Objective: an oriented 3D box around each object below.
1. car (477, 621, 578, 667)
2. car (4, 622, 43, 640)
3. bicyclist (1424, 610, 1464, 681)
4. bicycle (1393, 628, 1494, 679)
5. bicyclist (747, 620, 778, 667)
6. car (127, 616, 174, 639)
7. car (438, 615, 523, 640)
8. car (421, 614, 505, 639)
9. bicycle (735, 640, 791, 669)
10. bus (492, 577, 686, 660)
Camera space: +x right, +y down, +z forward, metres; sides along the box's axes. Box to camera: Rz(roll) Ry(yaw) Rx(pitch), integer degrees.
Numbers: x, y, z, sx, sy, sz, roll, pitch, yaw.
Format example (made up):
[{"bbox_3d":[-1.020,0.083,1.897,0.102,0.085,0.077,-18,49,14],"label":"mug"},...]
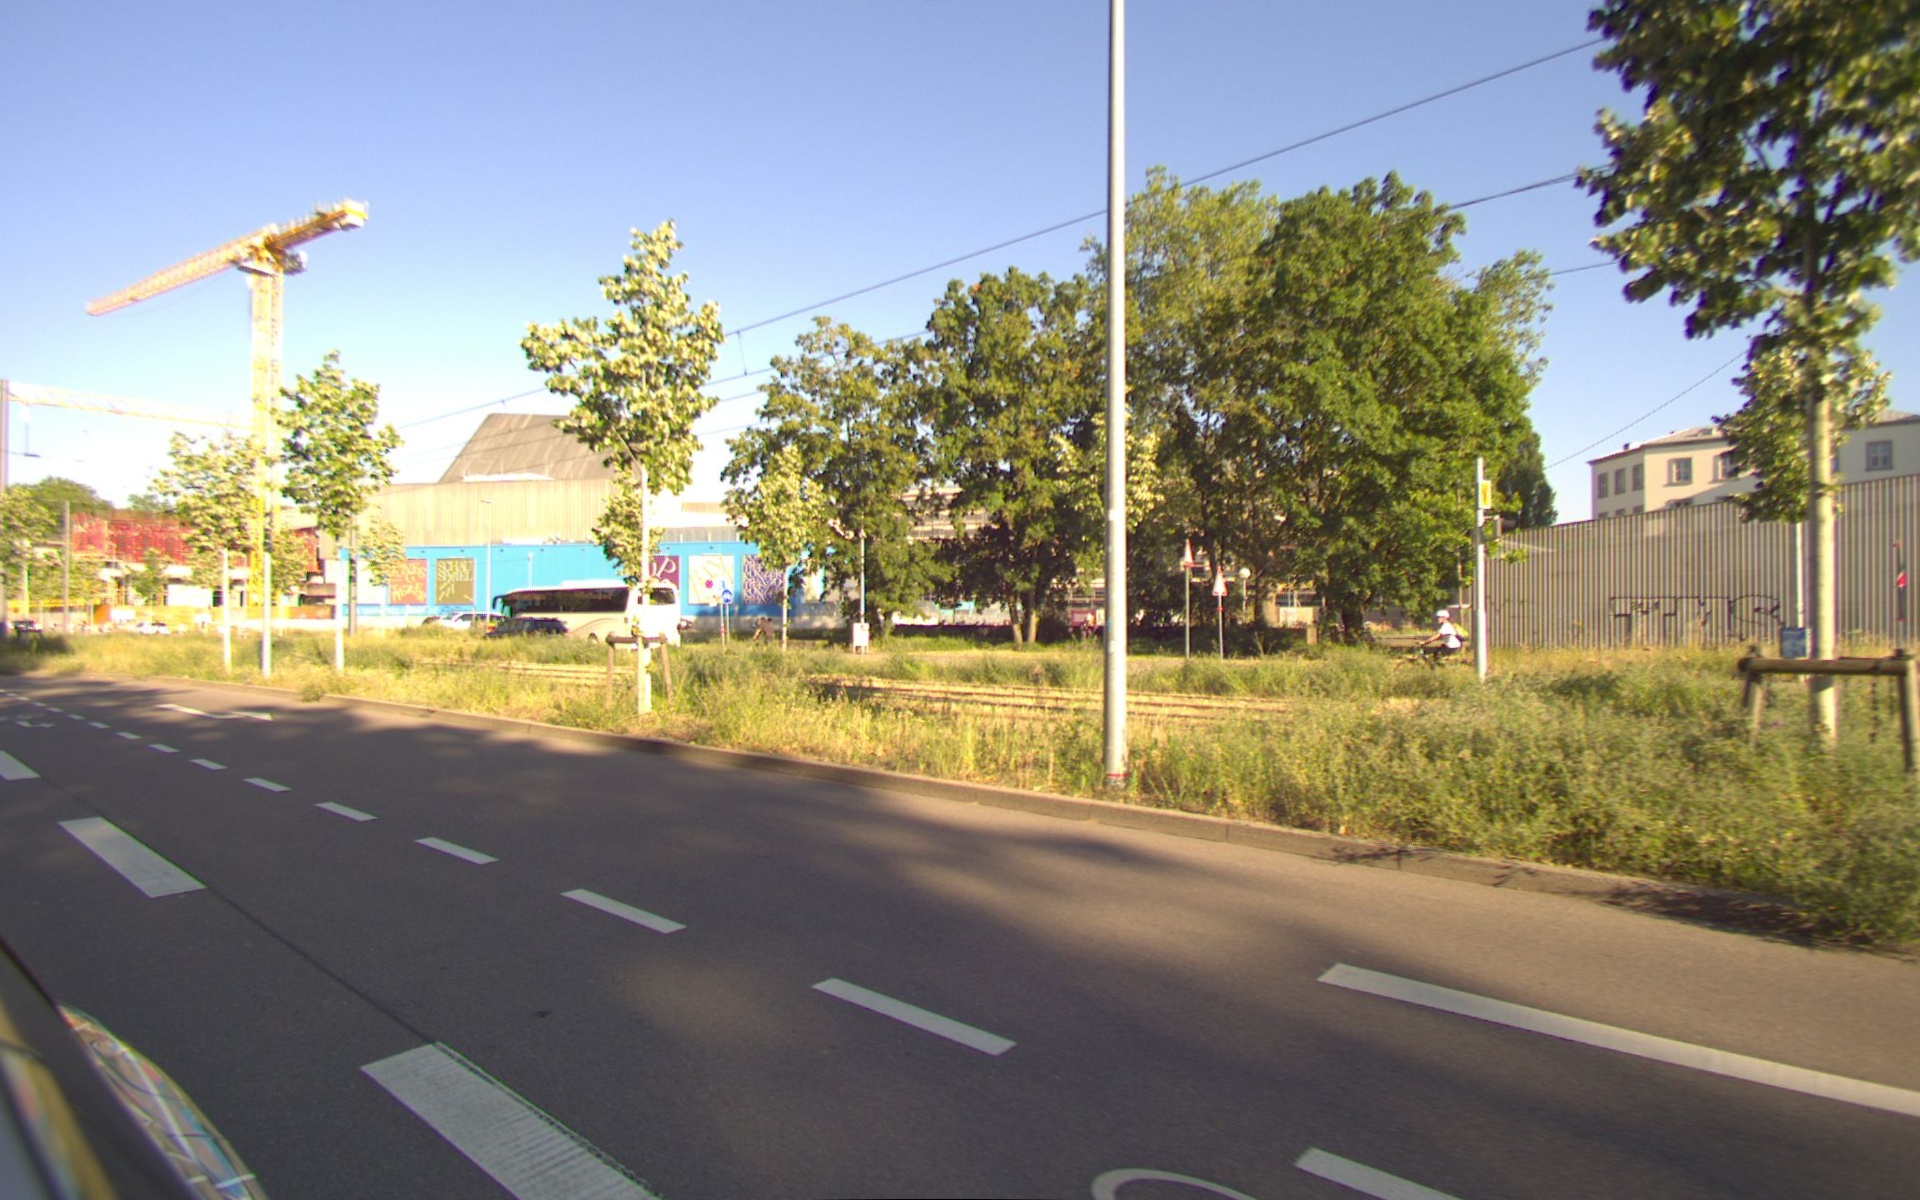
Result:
[{"bbox_3d":[-17.793,1.770,41.562,4.809,1.779,1.852,-1,-2,40],"label":"car"},{"bbox_3d":[-87.907,2.913,94.967,4.264,1.663,1.975,-1,-1,38],"label":"car"},{"bbox_3d":[10.597,0.983,22.155,0.667,1.518,0.551,-1,-2,41],"label":"bicyclist"},{"bbox_3d":[10.574,1.152,22.178,1.897,1.068,0.553,-1,-2,41],"label":"bicycle"},{"bbox_3d":[-7.235,1.582,37.048,0.953,1.721,0.680,-2,-2,41],"label":"bicyclist"},{"bbox_3d":[-62.156,2.092,77.671,4.162,1.655,1.975,-1,-1,39],"label":"car"},{"bbox_3d":[-34.316,1.942,72.529,2.121,1.730,5.178,-1,-1,37],"label":"car"},{"bbox_3d":[-36.426,1.926,74.338,2.121,1.730,5.178,-1,-1,37],"label":"car"},{"bbox_3d":[-7.220,1.982,37.019,2.360,1.010,0.680,-1,-2,41],"label":"bicycle"},{"bbox_3d":[-18.252,0.915,49.018,12.683,3.622,2.771,-1,-1,39],"label":"bus"}]
